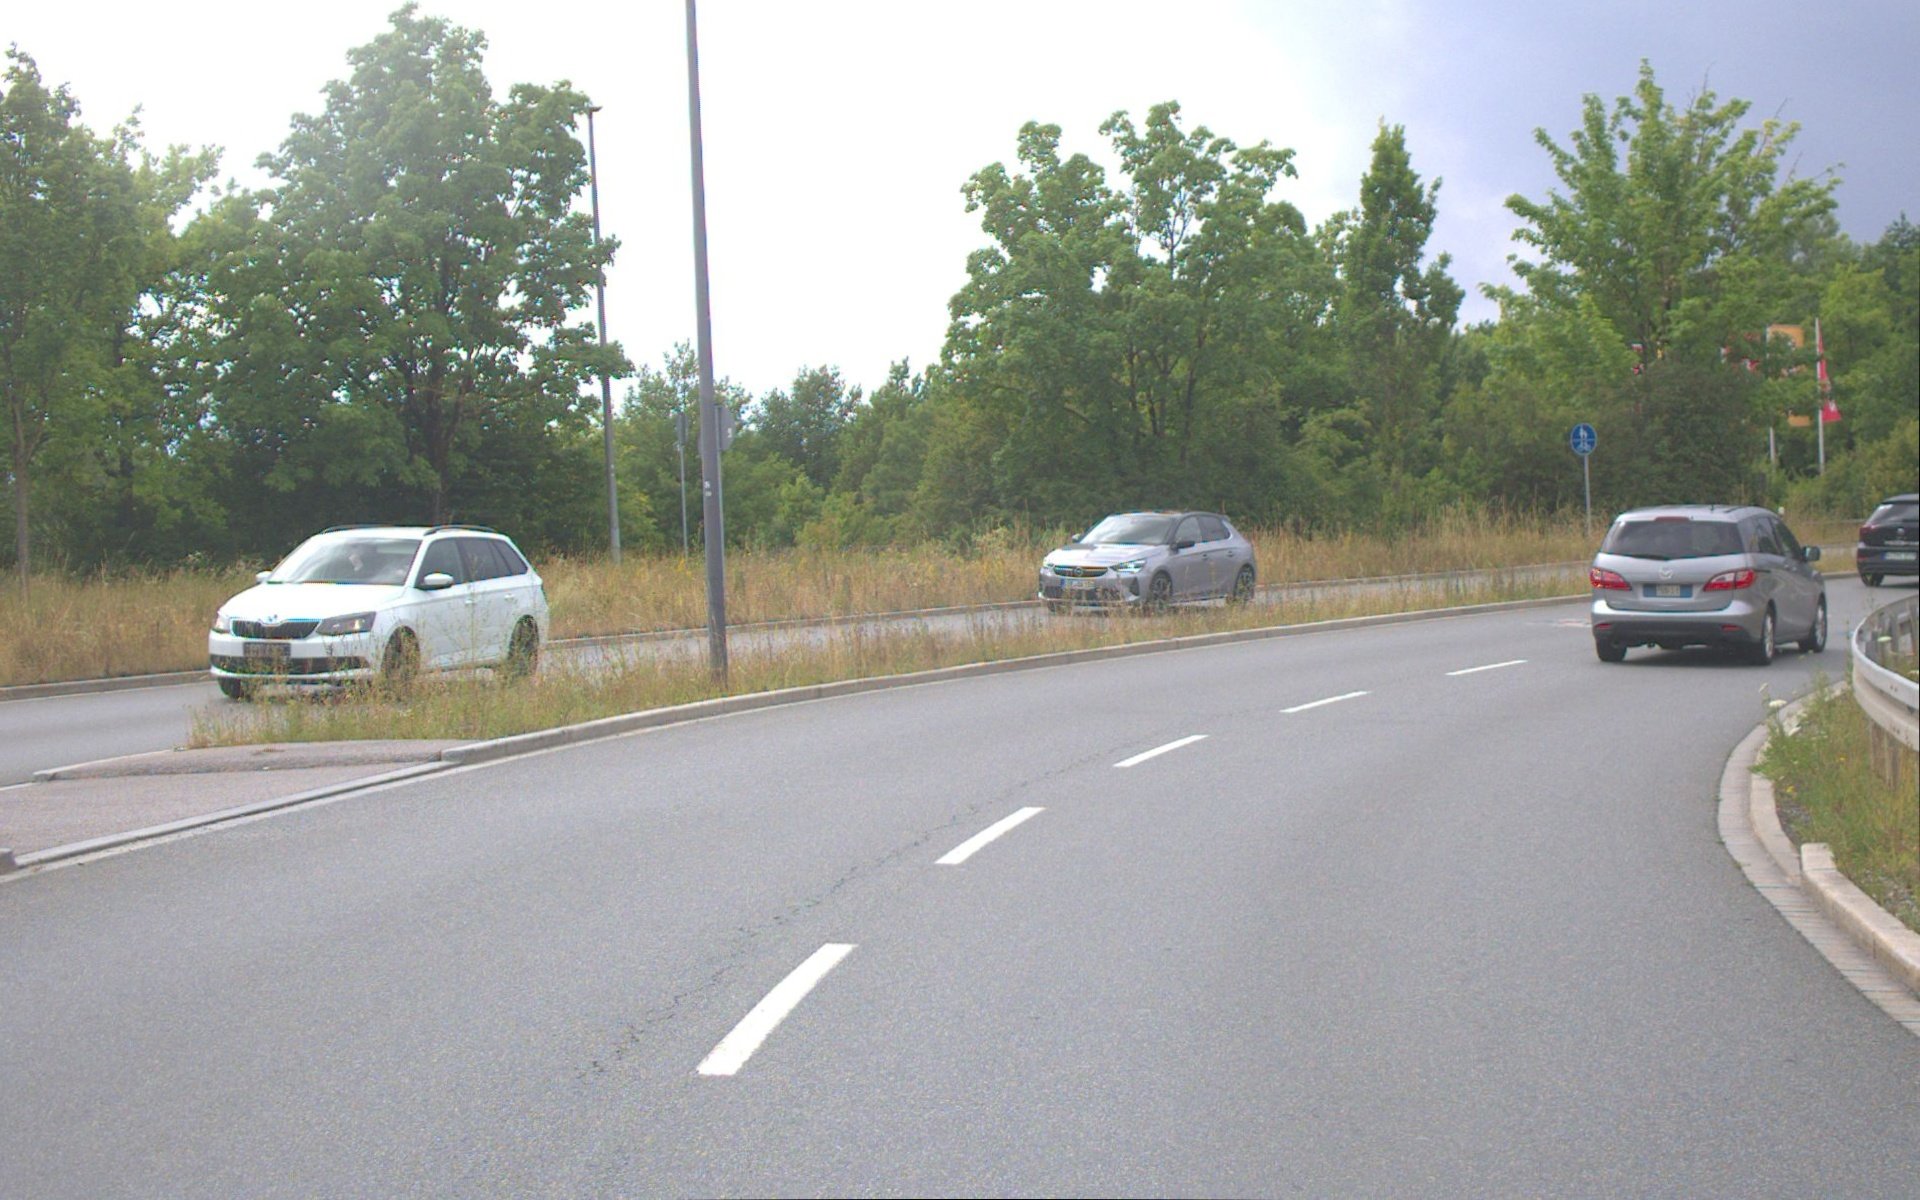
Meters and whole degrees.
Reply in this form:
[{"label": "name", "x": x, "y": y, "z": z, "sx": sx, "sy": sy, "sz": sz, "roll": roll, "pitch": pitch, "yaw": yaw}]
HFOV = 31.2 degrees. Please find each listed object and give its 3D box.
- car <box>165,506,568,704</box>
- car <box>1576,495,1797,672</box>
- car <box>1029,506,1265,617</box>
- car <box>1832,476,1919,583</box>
[{"label": "car", "x": -5.183, "y": 0.008, "z": 30.620, "sx": 1.716, "sy": 1.629, "sz": 4.263, "roll": 0, "pitch": 1, "yaw": 18}, {"label": "car", "x": 7.616, "y": -0.120, "z": 35.806, "sx": 1.769, "sy": 1.611, "sz": 3.917, "roll": -3, "pitch": -3, "yaw": 18}, {"label": "car", "x": 2.661, "y": -0.555, "z": 48.086, "sx": 1.461, "sy": 1.481, "sz": 4.088, "roll": 0, "pitch": 1, "yaw": 32}, {"label": "car", "x": 15.215, "y": -1.100, "z": 53.515, "sx": 1.873, "sy": 1.600, "sz": 3.727, "roll": 0, "pitch": 1, "yaw": 37}]
